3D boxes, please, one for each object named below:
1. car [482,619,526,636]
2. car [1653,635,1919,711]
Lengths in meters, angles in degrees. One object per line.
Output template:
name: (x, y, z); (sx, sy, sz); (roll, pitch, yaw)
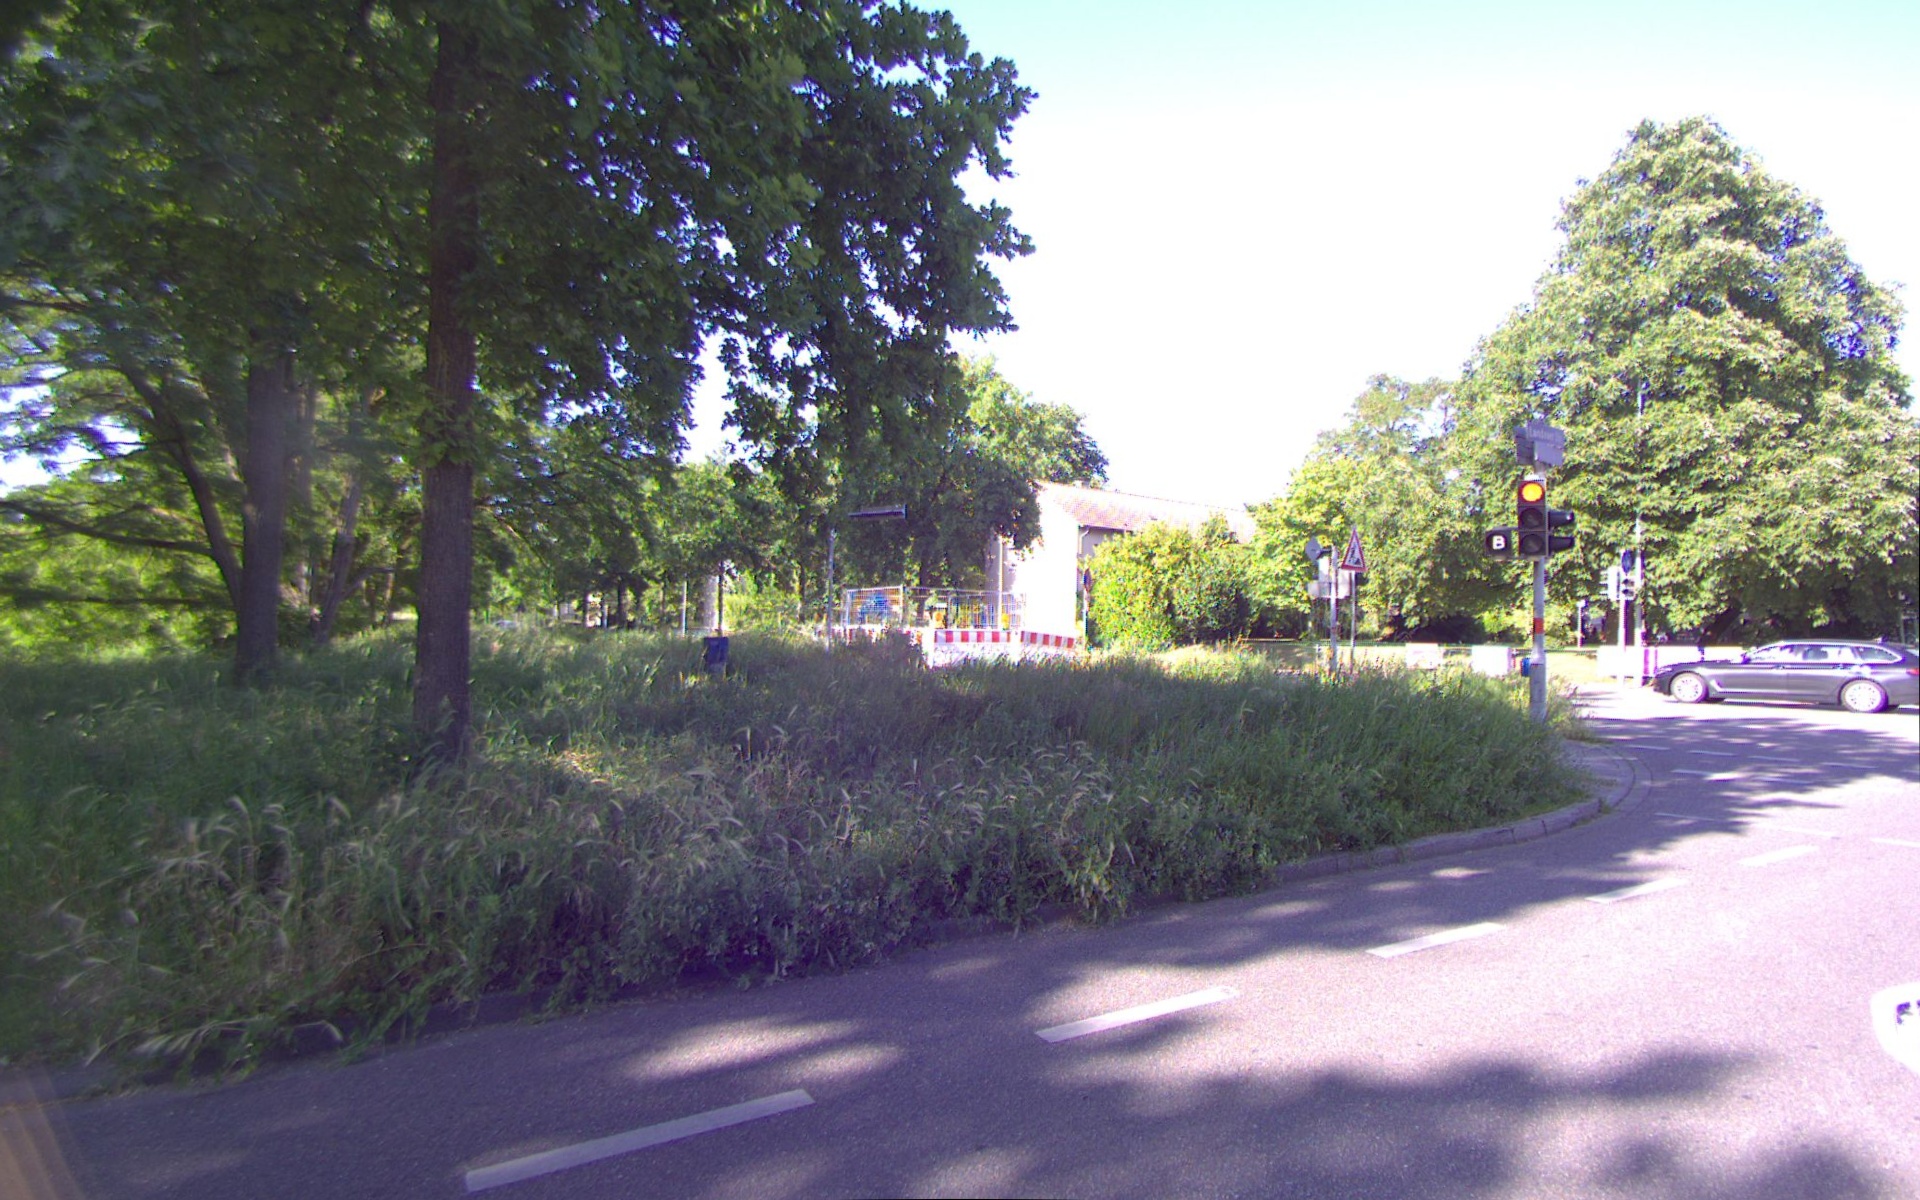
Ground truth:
car: (-47.380, 2.868, 104.485); (3.939, 1.673, 1.991); (2, 0, -20)
car: (17.981, 1.490, 21.632); (1.983, 1.449, 4.691); (2, -3, -39)
